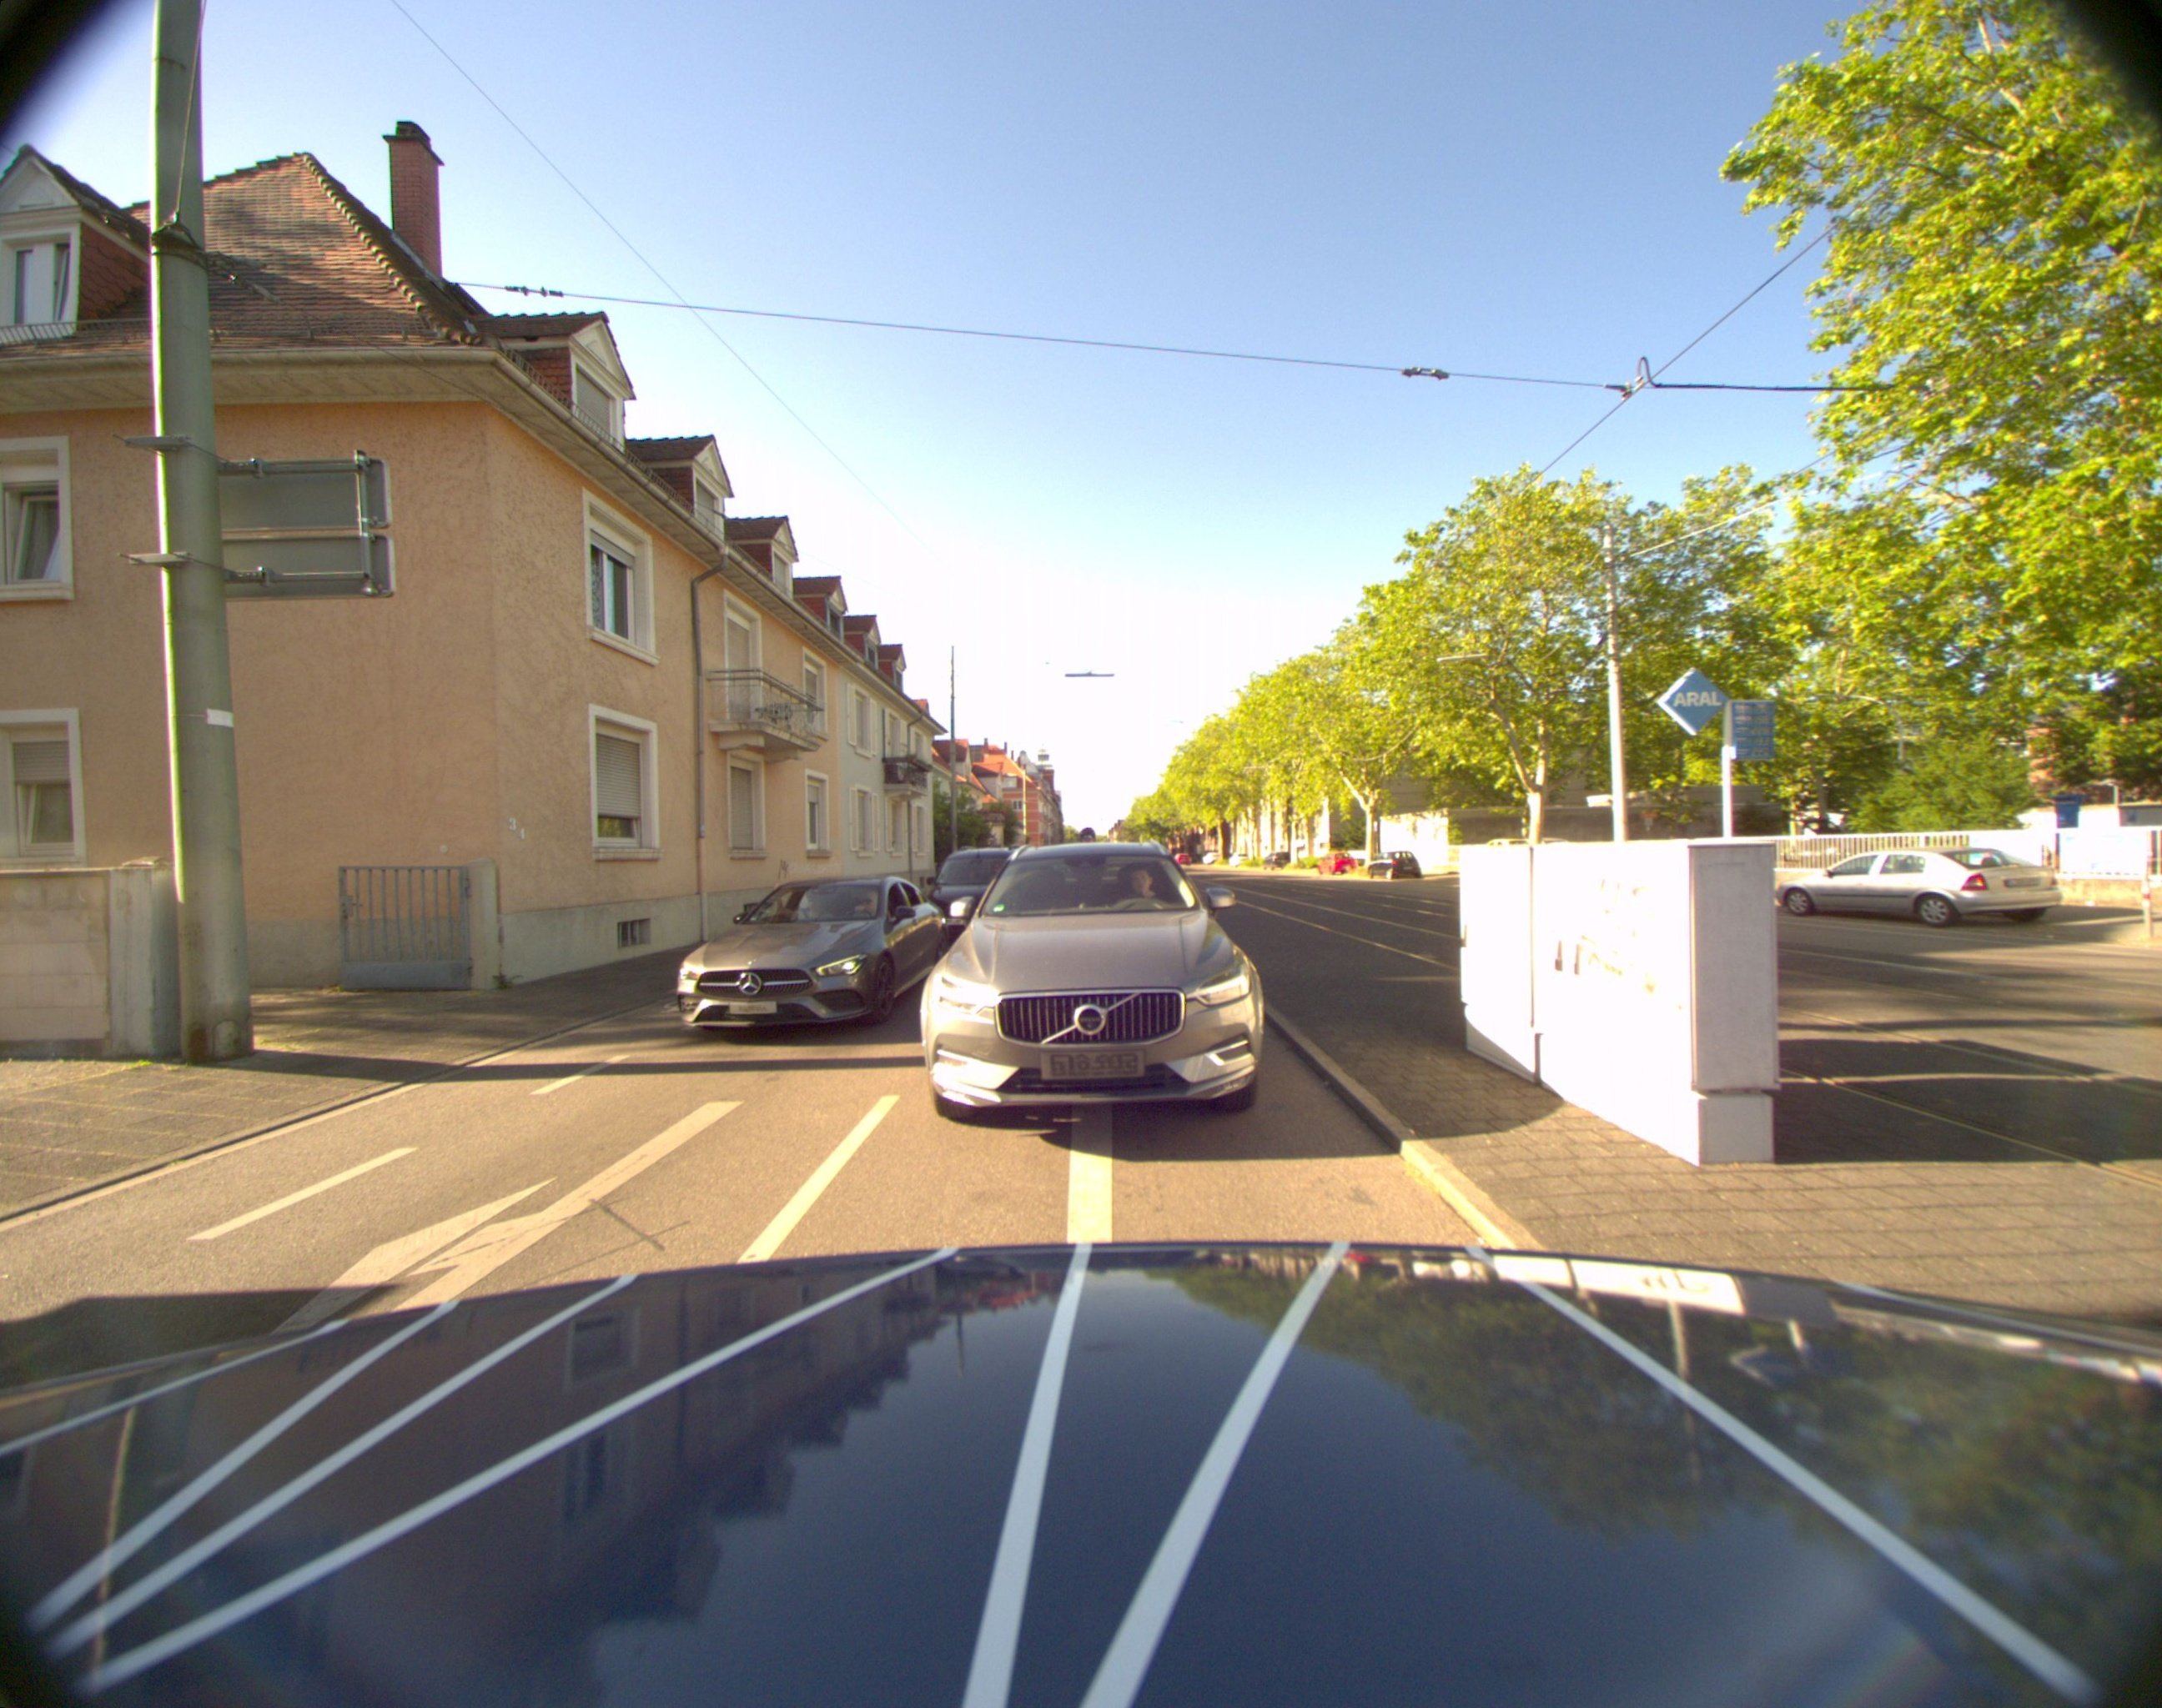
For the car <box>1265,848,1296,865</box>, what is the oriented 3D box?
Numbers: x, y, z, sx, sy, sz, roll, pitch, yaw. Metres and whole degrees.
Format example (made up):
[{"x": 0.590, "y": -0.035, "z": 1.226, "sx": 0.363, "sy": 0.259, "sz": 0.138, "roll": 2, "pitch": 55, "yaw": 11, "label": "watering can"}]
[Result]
[{"x": 17.288, "y": 0.225, "z": 65.922, "sx": 1.700, "sy": 1.401, "sz": 3.999, "roll": -1, "pitch": 1, "yaw": 1, "label": "car"}]

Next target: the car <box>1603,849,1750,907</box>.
[{"x": 16.468, "y": 0.603, "z": 21.202, "sx": 1.546, "sy": 1.412, "sz": 3.254, "roll": -2, "pitch": 1, "yaw": 1, "label": "car"}]

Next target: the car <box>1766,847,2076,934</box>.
[{"x": 16.204, "y": 0.609, "z": 15.026, "sx": 1.731, "sy": 1.412, "sz": 3.999, "roll": -2, "pitch": 1, "yaw": 1, "label": "car"}]

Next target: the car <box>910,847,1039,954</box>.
[{"x": -1.997, "y": 0.794, "z": 15.713, "sx": 1.866, "sy": 1.794, "sz": 4.778, "roll": -2, "pitch": 1, "yaw": 1, "label": "car"}]

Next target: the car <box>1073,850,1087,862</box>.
[{"x": -0.154, "y": 0.267, "z": 106.498, "sx": 1.841, "sy": 1.449, "sz": 3.999, "roll": -2, "pitch": 1, "yaw": 1, "label": "car"}]

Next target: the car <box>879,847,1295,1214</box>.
[{"x": 0.037, "y": 0.823, "z": 5.989, "sx": 1.912, "sy": 1.666, "sz": 4.763, "roll": -2, "pitch": 1, "yaw": 0, "label": "car"}]

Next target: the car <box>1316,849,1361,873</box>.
[{"x": 17.020, "y": 0.411, "z": 50.430, "sx": 1.700, "sy": 1.460, "sz": 3.999, "roll": -1, "pitch": 1, "yaw": 1, "label": "car"}]

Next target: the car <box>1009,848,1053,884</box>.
[{"x": -2.868, "y": 0.616, "z": 44.981, "sx": 1.937, "sy": 1.888, "sz": 7.210, "roll": -2, "pitch": 1, "yaw": 1, "label": "car"}]

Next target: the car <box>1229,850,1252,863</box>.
[{"x": 17.520, "y": 0.248, "z": 83.530, "sx": 1.700, "sy": 1.401, "sz": 3.999, "roll": -1, "pitch": 1, "yaw": 1, "label": "car"}]

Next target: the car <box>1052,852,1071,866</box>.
[{"x": -2.178, "y": 0.581, "z": 85.446, "sx": 1.841, "sy": 1.449, "sz": 3.999, "roll": -2, "pitch": 1, "yaw": 1, "label": "car"}]

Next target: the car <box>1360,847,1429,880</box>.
[{"x": 16.923, "y": 0.464, "z": 41.232, "sx": 1.753, "sy": 1.514, "sz": 4.434, "roll": -5, "pitch": 1, "yaw": -1, "label": "car"}]

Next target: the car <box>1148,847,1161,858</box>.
[{"x": 13.864, "y": -0.295, "z": 143.663, "sx": 1.850, "sy": 1.835, "sz": 4.394, "roll": -1, "pitch": 1, "yaw": -1, "label": "car"}]

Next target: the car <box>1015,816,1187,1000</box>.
[{"x": 0.238, "y": 0.595, "z": 11.132, "sx": 1.912, "sy": 2.048, "sz": 4.763, "roll": -2, "pitch": 1, "yaw": 0, "label": "car"}]

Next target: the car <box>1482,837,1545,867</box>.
[{"x": 21.715, "y": -0.113, "z": 38.261, "sx": 1.545, "sy": 1.412, "sz": 3.151, "roll": -2, "pitch": 1, "yaw": 4, "label": "car"}]

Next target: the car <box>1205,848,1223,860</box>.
[{"x": 17.668, "y": 0.005, "z": 100.792, "sx": 1.700, "sy": 1.548, "sz": 3.999, "roll": -1, "pitch": 1, "yaw": 1, "label": "car"}]

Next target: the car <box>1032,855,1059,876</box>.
[{"x": -2.824, "y": 0.883, "z": 60.599, "sx": 1.841, "sy": 1.449, "sz": 3.999, "roll": -2, "pitch": 1, "yaw": 1, "label": "car"}]

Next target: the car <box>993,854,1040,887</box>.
[{"x": -3.120, "y": 0.764, "z": 37.373, "sx": 1.841, "sy": 1.449, "sz": 3.999, "roll": -2, "pitch": 1, "yaw": 1, "label": "car"}]

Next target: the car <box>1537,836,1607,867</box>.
[{"x": 24.278, "y": -0.151, "z": 37.699, "sx": 1.545, "sy": 1.412, "sz": 3.151, "roll": -2, "pitch": 1, "yaw": 4, "label": "car"}]

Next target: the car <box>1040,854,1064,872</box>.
[{"x": -2.528, "y": 0.800, "z": 67.008, "sx": 1.841, "sy": 1.449, "sz": 3.999, "roll": -2, "pitch": 1, "yaw": 1, "label": "car"}]

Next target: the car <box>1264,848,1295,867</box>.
[{"x": 17.171, "y": 0.318, "z": 66.003, "sx": 1.700, "sy": 1.566, "sz": 3.999, "roll": -1, "pitch": 1, "yaw": 1, "label": "car"}]

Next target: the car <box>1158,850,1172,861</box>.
[{"x": 13.065, "y": 0.197, "z": 118.369, "sx": 1.700, "sy": 1.412, "sz": 3.999, "roll": 8, "pitch": 1, "yaw": 1, "label": "car"}]

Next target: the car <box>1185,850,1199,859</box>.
[{"x": 18.338, "y": 0.020, "z": 125.569, "sx": 1.700, "sy": 1.401, "sz": 3.999, "roll": -1, "pitch": 1, "yaw": 1, "label": "car"}]

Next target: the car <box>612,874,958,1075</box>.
[{"x": -2.788, "y": 1.050, "z": 8.463, "sx": 1.911, "sy": 1.411, "sz": 4.492, "roll": -2, "pitch": 1, "yaw": 2, "label": "car"}]

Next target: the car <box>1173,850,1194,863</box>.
[{"x": 12.805, "y": 0.302, "z": 95.064, "sx": 1.912, "sy": 1.514, "sz": 4.763, "roll": 0, "pitch": 1, "yaw": 0, "label": "car"}]
